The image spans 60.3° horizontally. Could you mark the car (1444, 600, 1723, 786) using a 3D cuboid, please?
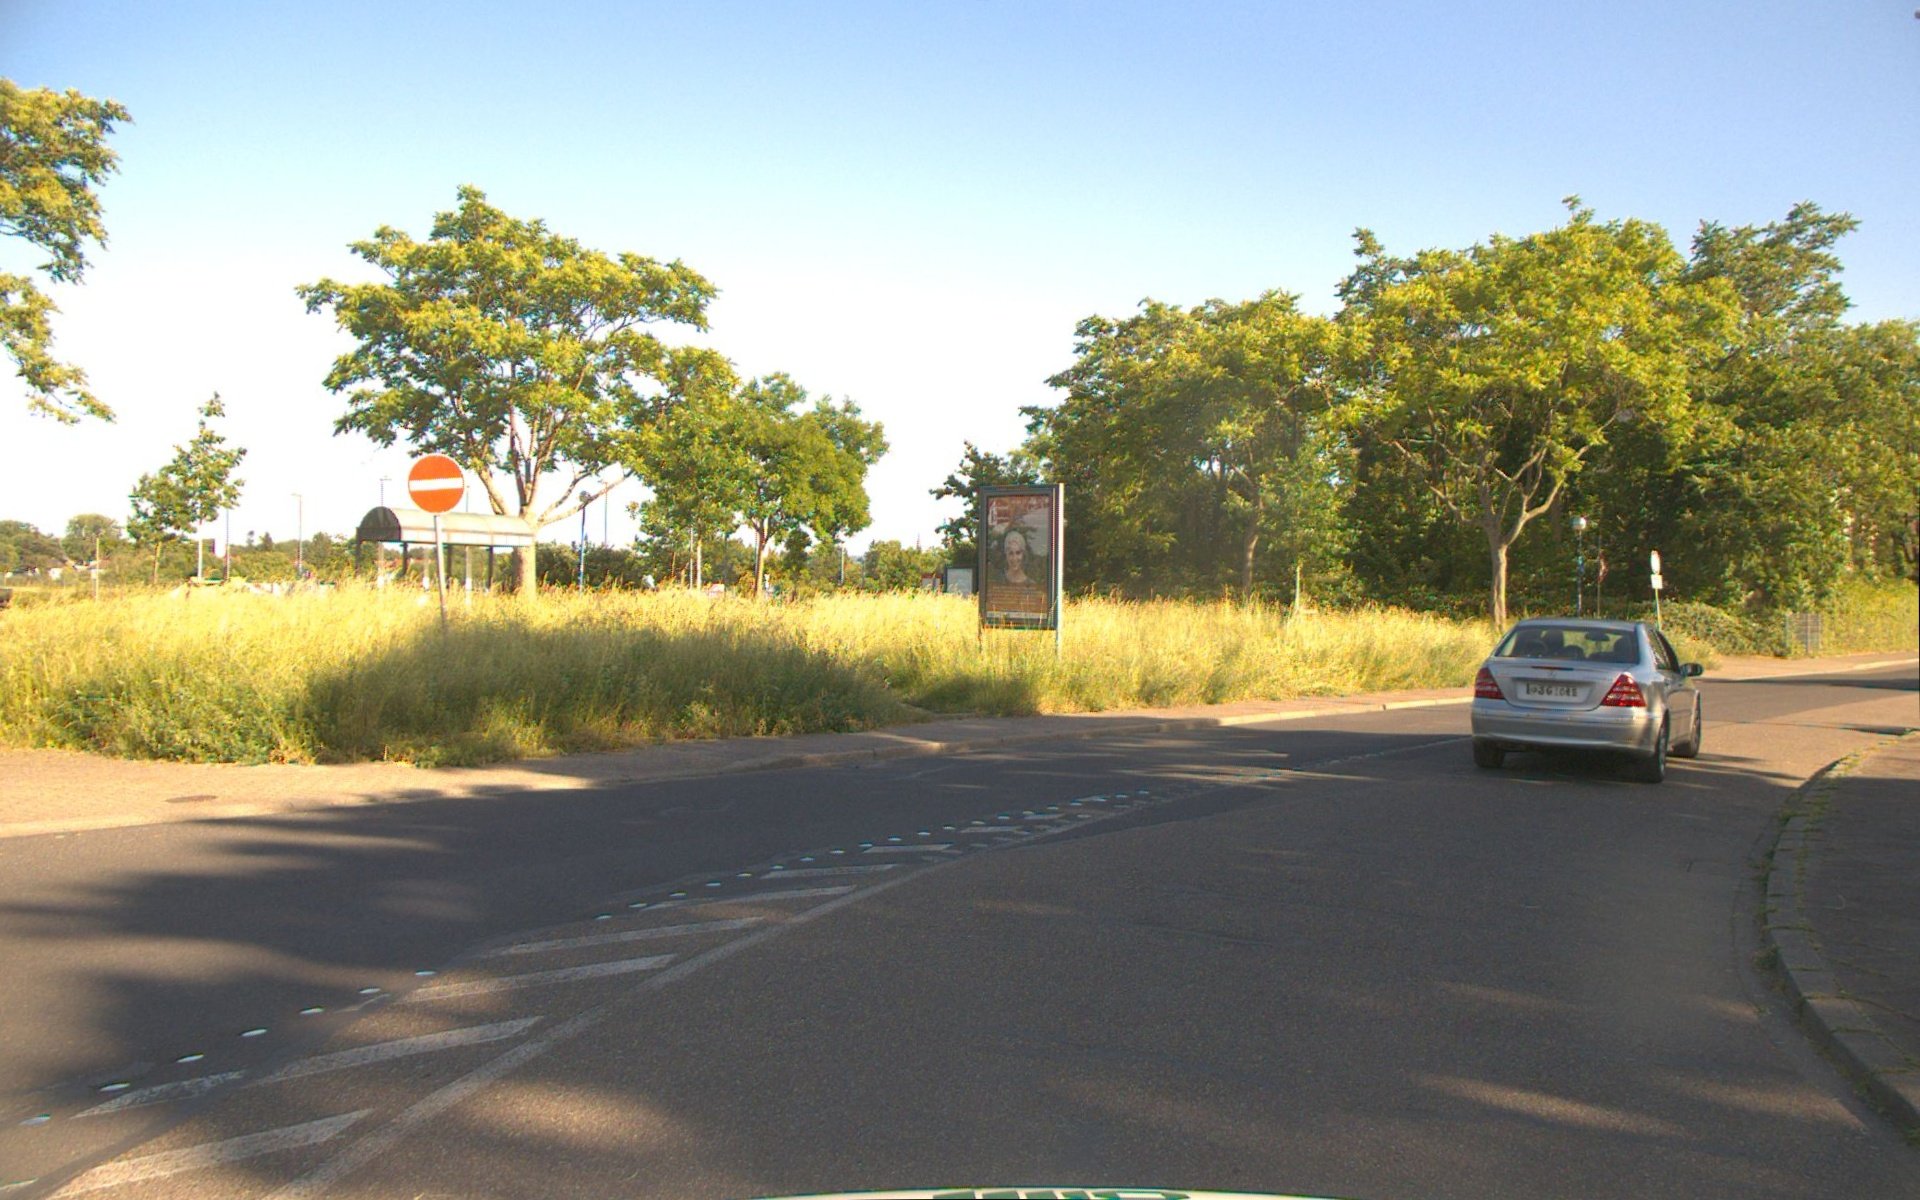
[{"bbox_3d":[6.254,0.786,16.283,1.783,1.488,4.351,2,1,31],"label":"car"}]

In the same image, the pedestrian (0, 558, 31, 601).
[{"bbox_3d":[-21.562,-0.459,37.321,0.688,0.957,0.798,1,0,31],"label":"pedestrian"}]

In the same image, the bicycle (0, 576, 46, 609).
[{"bbox_3d":[-21.576,-0.181,37.298,0.640,0.716,1.573,2,0,31],"label":"bicycle"}]
